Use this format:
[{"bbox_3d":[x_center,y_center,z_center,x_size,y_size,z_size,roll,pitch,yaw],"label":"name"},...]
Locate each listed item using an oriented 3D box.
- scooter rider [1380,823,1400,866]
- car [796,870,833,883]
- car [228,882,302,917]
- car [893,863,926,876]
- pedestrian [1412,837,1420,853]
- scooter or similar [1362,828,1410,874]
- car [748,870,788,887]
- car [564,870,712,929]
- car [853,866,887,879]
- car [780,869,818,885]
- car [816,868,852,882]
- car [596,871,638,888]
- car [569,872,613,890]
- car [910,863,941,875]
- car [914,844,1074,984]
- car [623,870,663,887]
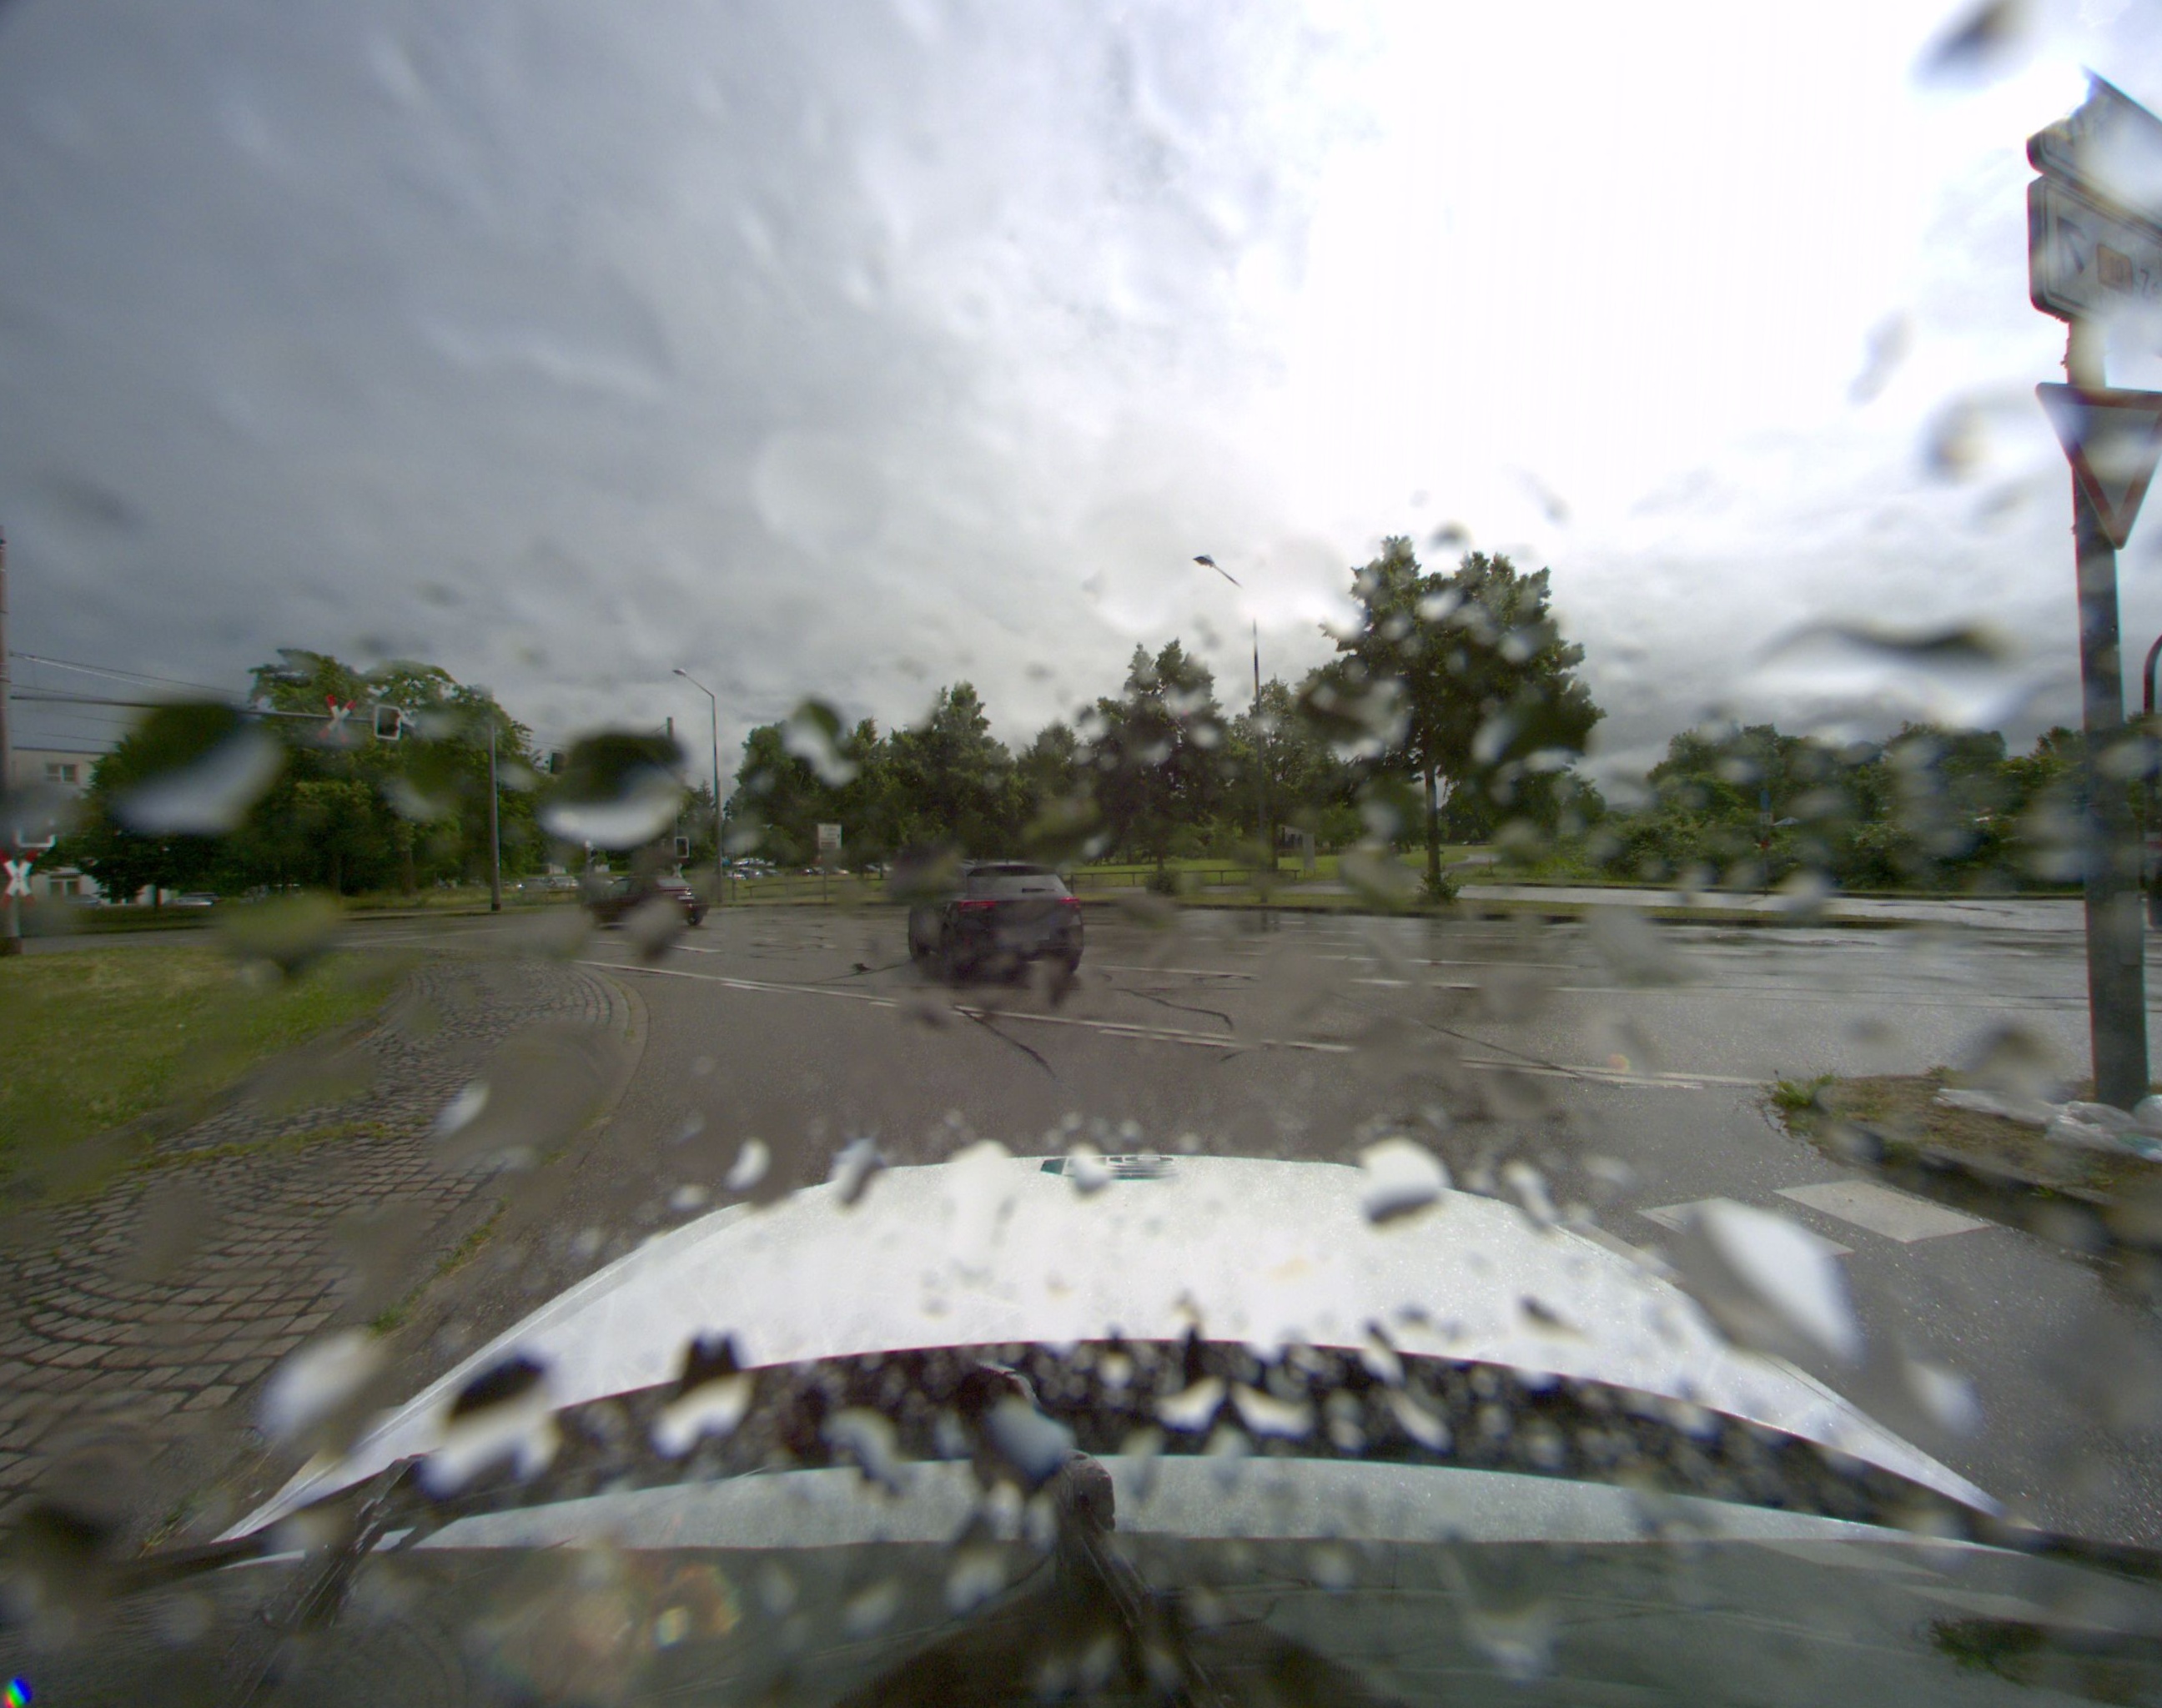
[{"bbox_3d":[14.568,-0.436,38.408,0.697,2.014,0.775,-2,-2,33],"label":"scooter rider"},{"bbox_3d":[-31.661,2.649,96.787,3.929,1.308,1.861,-3,0,26],"label":"car"},{"bbox_3d":[-53.575,2.956,53.454,5.095,2.057,2.127,-1,1,30],"label":"car"},{"bbox_3d":[-23.601,2.180,112.057,3.929,1.559,1.861,-3,0,26],"label":"car"},{"bbox_3d":[38.503,-1.021,93.602,0.591,1.732,0.609,-2,-2,36],"label":"pedestrian"},{"bbox_3d":[14.128,-0.097,37.619,1.224,2.014,3.430,-2,-2,34],"label":"scooter or similar"},{"bbox_3d":[-34.647,2.729,90.131,3.949,1.714,2.012,-3,0,27],"label":"car"},{"bbox_3d":[-12.462,1.235,22.878,3.949,1.462,1.731,-1,1,29],"label":"car"},{"bbox_3d":[-27.285,2.383,105.337,3.929,1.559,1.861,-3,0,26],"label":"car"},{"bbox_3d":[-32.689,2.673,94.237,3.929,1.559,1.861,-3,0,26],"label":"car"},{"bbox_3d":[-30.073,2.530,99.117,3.929,1.559,1.861,-3,0,26],"label":"car"},{"bbox_3d":[-42.436,2.314,74.424,3.565,1.462,1.655,-2,0,29],"label":"car"},{"bbox_3d":[-43.342,2.376,72.032,3.565,1.462,1.655,-2,0,29],"label":"car"},{"bbox_3d":[-22.070,2.099,115.613,3.929,1.559,1.861,-3,0,26],"label":"car"},{"bbox_3d":[-1.410,0.750,11.928,1.898,1.618,3.985,-2,-1,-11],"label":"car"},{"bbox_3d":[-41.195,2.320,76.650,3.603,1.510,1.661,-2,0,31],"label":"car"}]
